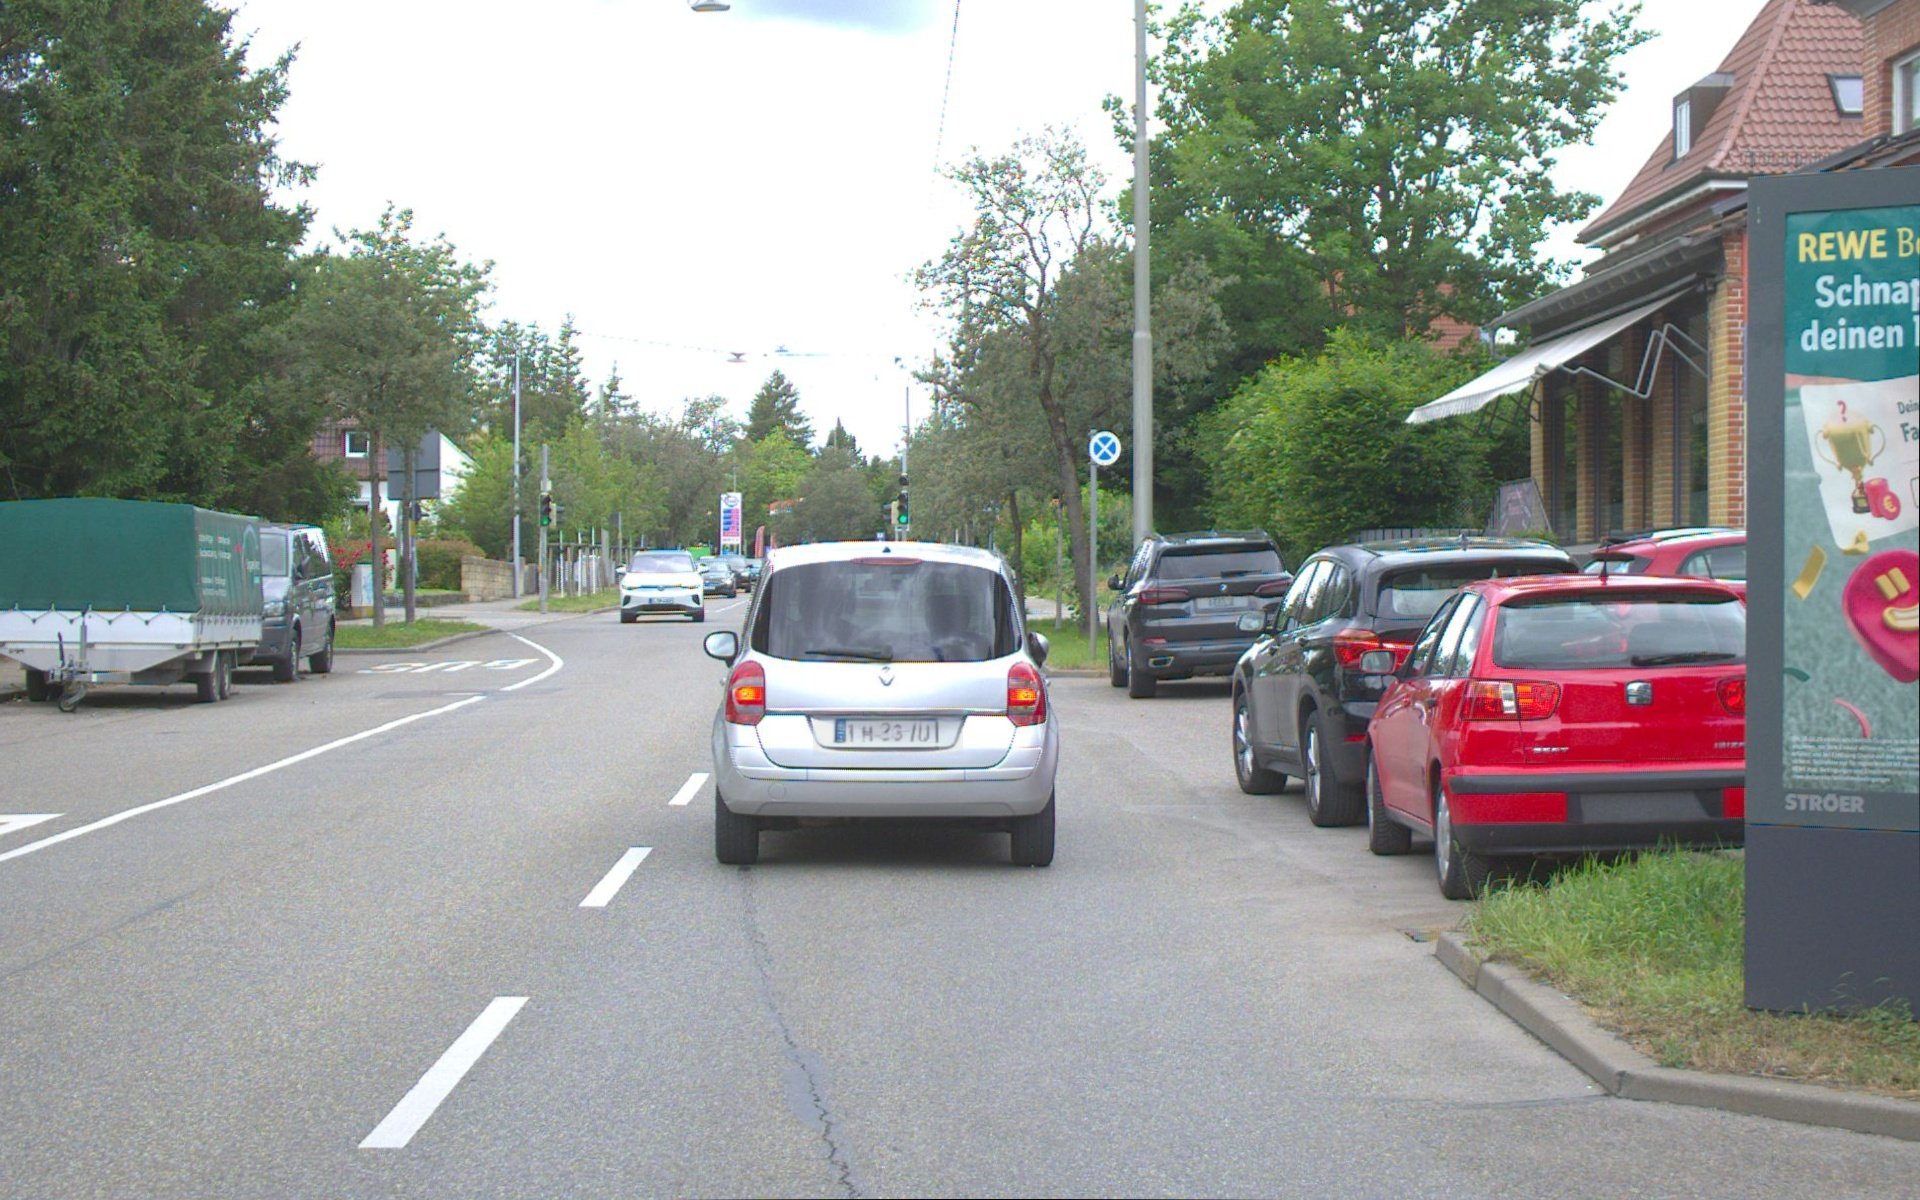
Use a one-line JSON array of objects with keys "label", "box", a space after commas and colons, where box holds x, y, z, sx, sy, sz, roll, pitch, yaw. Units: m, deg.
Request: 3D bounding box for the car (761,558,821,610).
[{"label": "car", "box": [-5.453, -0.522, 111.493, 1.829, 1.670, 3.574, 0, 0, -1]}]

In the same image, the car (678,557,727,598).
[{"label": "car", "box": [-9.481, -0.806, 126.357, 1.721, 1.406, 4.000, 2, 0, -4]}]

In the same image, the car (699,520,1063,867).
[{"label": "car", "box": [-0.383, 0.443, 17.849, 1.630, 1.551, 4.000, 2, 0, 0]}]

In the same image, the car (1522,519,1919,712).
[{"label": "car", "box": [7.164, 0.098, 30.119, 3.986, 1.491, 1.810, -3, 1, -9]}]

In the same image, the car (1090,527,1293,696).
[{"label": "car", "box": [2.478, 0.131, 37.668, 1.812, 1.737, 4.000, -1, 0, -2]}]

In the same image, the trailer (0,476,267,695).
[{"label": "trailer", "box": [-8.968, -0.136, 36.296, 2.312, 2.079, 5.873, 2, 0, -3]}]

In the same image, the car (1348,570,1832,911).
[{"label": "car", "box": [2.853, 0.577, 16.276, 1.662, 1.388, 3.667, -1, 1, 1]}]

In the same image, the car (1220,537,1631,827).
[{"label": "car", "box": [2.676, 0.417, 20.643, 1.662, 1.559, 4.099, 0, 1, -4]}]

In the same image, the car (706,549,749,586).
[{"label": "car", "box": [-9.731, -1.345, 143.714, 1.721, 1.406, 4.000, 2, 0, -4]}]

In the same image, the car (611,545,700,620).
[{"label": "car", "box": [-6.885, -0.366, 77.490, 1.905, 1.612, 4.001, 1, 0, -6]}]

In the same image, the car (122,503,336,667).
[{"label": "car", "box": [-9.213, -0.171, 43.695, 1.887, 1.915, 4.562, 2, 0, -3]}]
